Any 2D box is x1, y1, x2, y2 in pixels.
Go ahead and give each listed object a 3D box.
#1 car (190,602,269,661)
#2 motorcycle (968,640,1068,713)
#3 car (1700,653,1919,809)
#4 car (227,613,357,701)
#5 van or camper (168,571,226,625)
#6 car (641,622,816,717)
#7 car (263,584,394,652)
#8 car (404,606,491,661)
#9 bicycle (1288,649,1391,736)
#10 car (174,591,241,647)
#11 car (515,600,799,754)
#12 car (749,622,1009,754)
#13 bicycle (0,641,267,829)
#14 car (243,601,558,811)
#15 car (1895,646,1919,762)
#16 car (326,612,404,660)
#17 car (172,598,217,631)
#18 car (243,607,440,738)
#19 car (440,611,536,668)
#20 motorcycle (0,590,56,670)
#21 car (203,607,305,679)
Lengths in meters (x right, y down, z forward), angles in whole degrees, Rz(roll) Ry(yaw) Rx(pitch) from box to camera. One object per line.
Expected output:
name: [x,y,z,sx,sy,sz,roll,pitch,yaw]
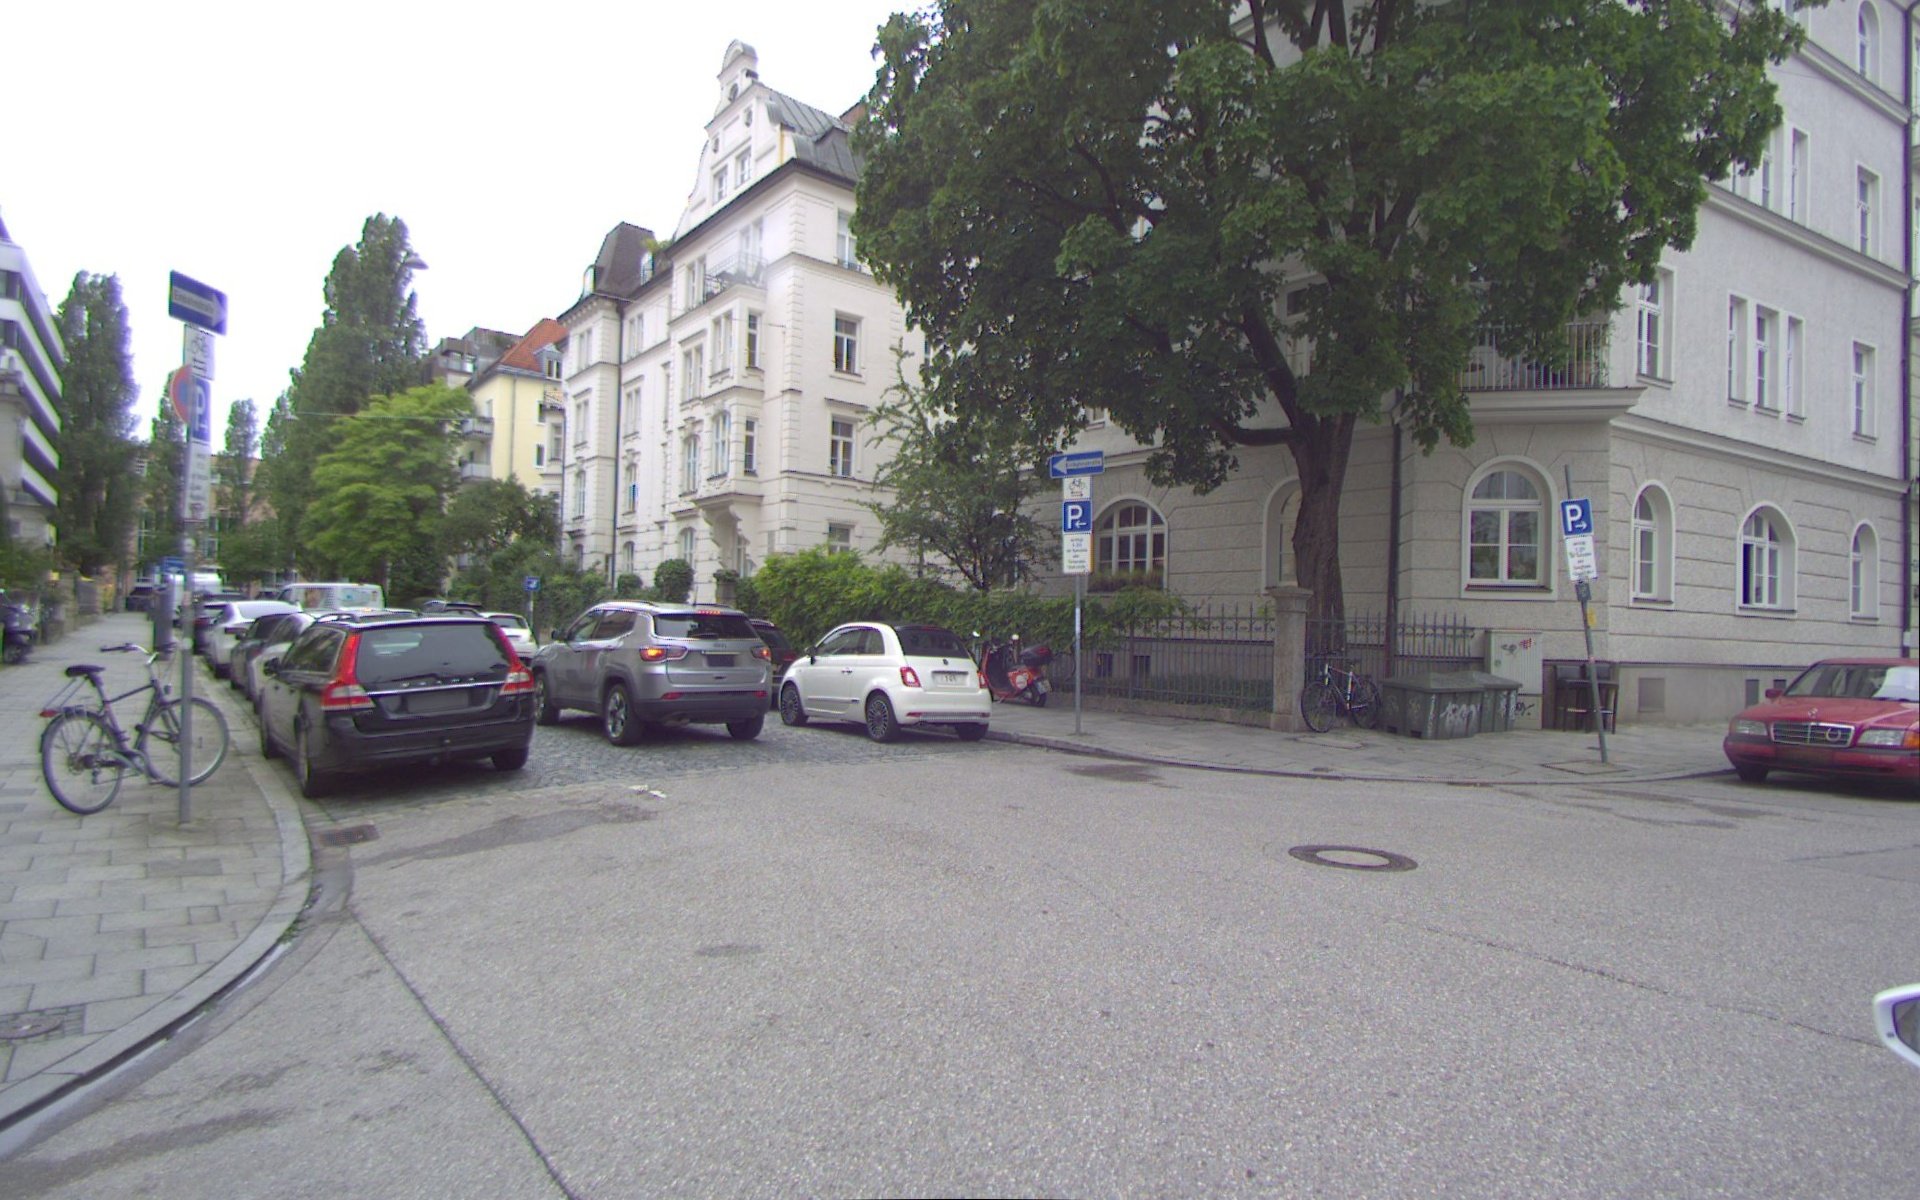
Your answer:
car: [-22.535,0.945,30.925,1.694,1.669,3.954,3,-2,-40]
motorcycle: [0.957,1.269,17.077,0.586,1.126,1.970,1,-1,-36]
car: [10.236,1.344,11.255,4.180,1.396,1.721,3,-2,-32]
car: [-11.860,0.942,17.742,1.580,1.359,3.771,3,-2,-38]
van or camper: [-45.019,-0.068,59.203,2.408,2.973,5.310,3,-2,-40]
car: [-4.309,1.182,18.257,1.637,1.492,3.958,2,-2,-37]
car: [-24.574,0.683,39.086,4.517,2.508,2.161,1,-2,26]
car: [-16.803,1.077,32.855,1.694,1.669,3.954,3,-2,-40]
bicycle: [5.303,1.256,13.983,1.811,1.066,0.489,0,0,-39]
car: [-26.896,0.681,35.852,1.694,1.884,3.954,3,-2,-40]
car: [-4.023,0.872,12.880,1.948,1.629,4.259,2,-2,-40]
car: [-1.244,1.094,13.811,1.670,1.468,3.957,3,-1,-37]
bicycle: [-6.139,0.926,7.515,0.597,1.184,1.835,3,-2,-1]
car: [-5.698,0.816,9.944,1.888,1.536,4.296,-2,2,-41]
car: [14.571,1.425,13.627,4.177,1.493,1.980,3,-2,-35]
car: [-17.833,1.052,30.046,1.592,1.348,2.920,3,-2,-39]
car: [-41.086,0.749,53.879,1.694,1.669,3.954,3,-2,-40]
car: [-8.686,0.861,13.943,1.671,1.528,4.213,0,0,-41]
car: [-13.939,1.120,29.553,1.673,1.554,3.827,3,-2,-39]
motorcycle: [-18.619,0.612,19.862,0.956,1.481,2.856,2,-3,-40]
car: [-15.872,0.926,22.514,1.606,1.461,3.956,3,-2,-38]
